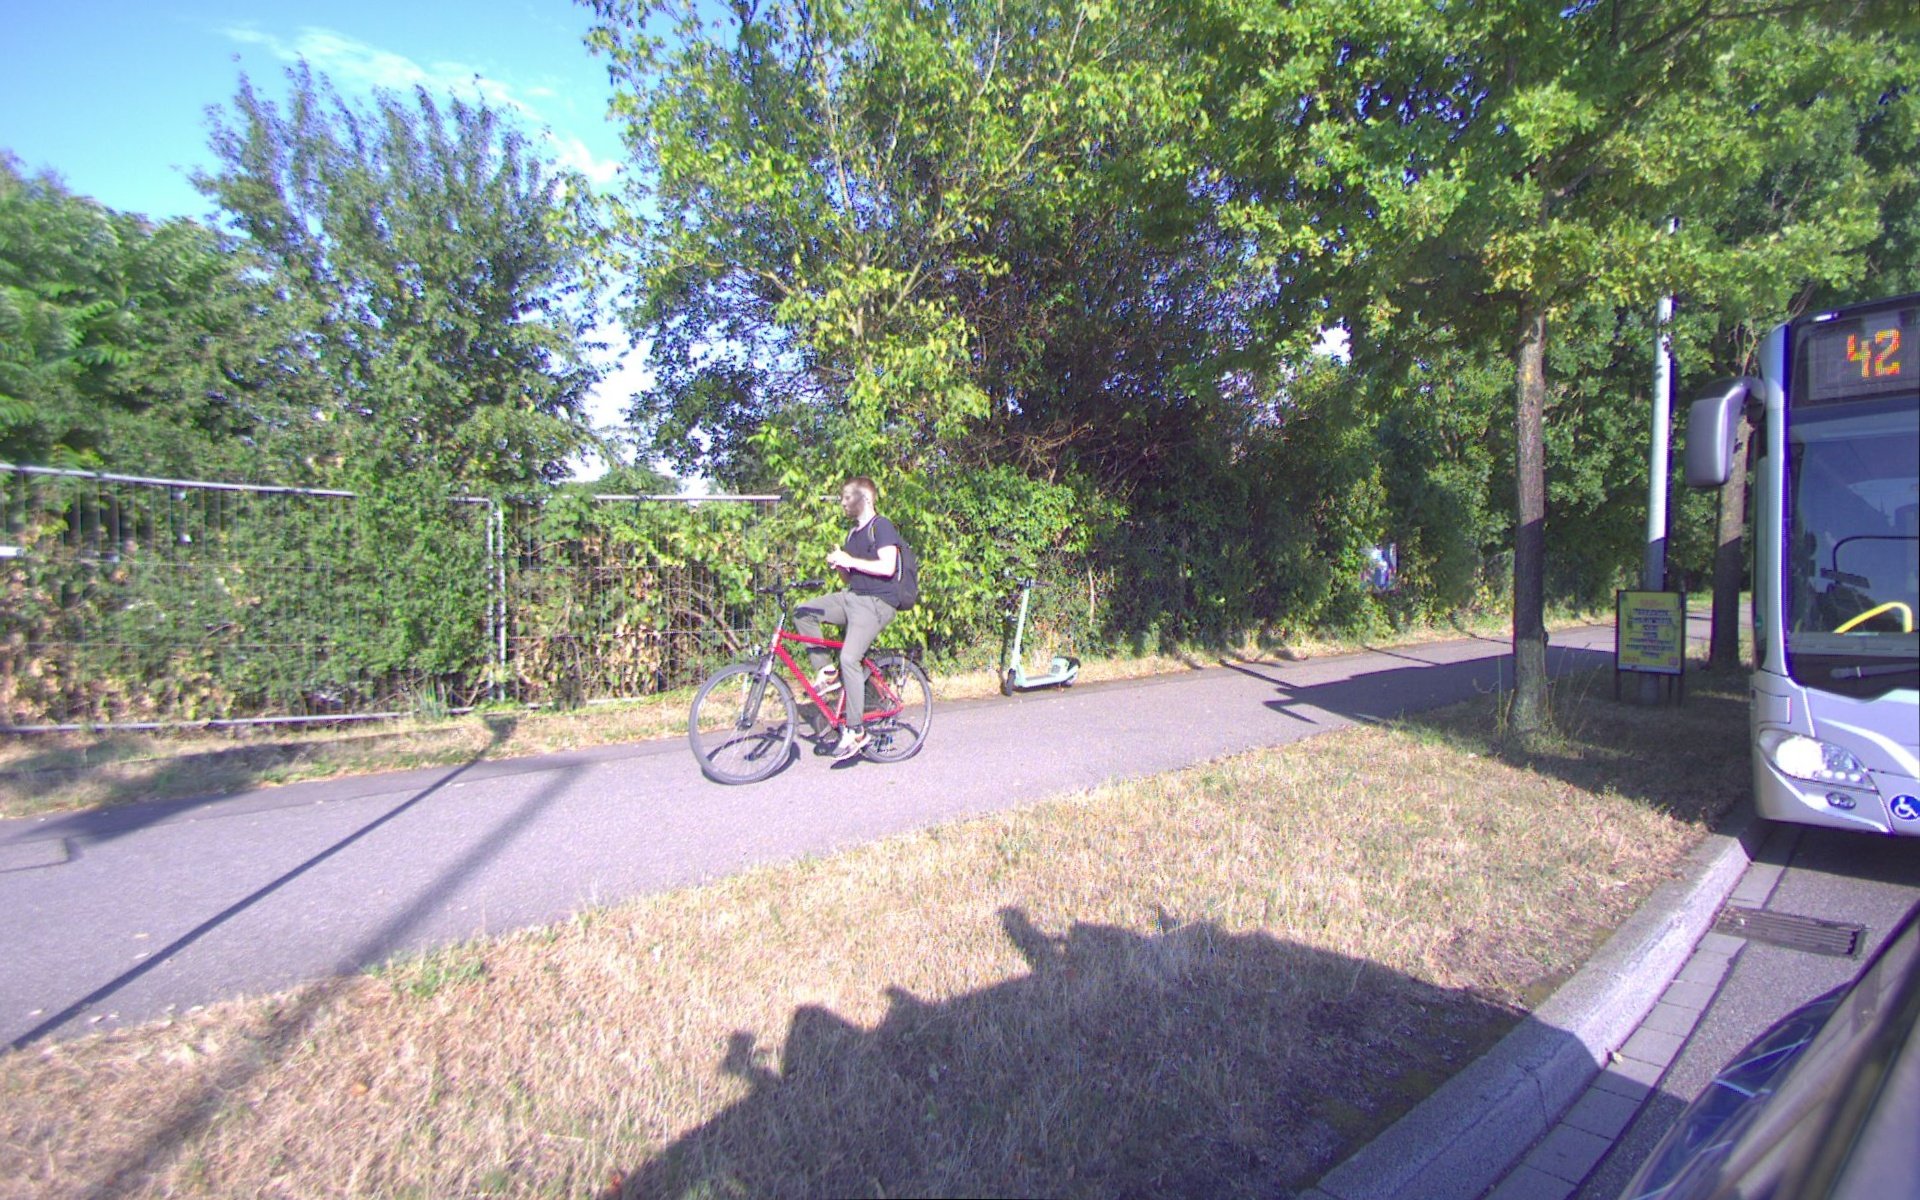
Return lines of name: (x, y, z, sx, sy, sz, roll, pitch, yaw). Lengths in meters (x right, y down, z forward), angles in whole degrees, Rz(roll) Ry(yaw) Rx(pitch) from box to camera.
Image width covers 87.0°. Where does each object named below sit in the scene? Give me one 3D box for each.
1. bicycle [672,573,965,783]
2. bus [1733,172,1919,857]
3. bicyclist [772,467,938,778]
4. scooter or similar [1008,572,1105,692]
bicycle: (-0.838, 0.435, 6.404, 1.856, 1.172, 0.416, 0, 2, -38)
bus: (8.906, -0.436, 8.073, 11.525, 3.081, 2.591, -1, 1, -44)
bicyclist: (-0.677, 0.113, 6.502, 0.815, 1.851, 0.621, -1, 4, -38)
scooter or similar: (0.982, 0.305, 10.195, 1.076, 1.139, 0.249, 0, 5, -41)
